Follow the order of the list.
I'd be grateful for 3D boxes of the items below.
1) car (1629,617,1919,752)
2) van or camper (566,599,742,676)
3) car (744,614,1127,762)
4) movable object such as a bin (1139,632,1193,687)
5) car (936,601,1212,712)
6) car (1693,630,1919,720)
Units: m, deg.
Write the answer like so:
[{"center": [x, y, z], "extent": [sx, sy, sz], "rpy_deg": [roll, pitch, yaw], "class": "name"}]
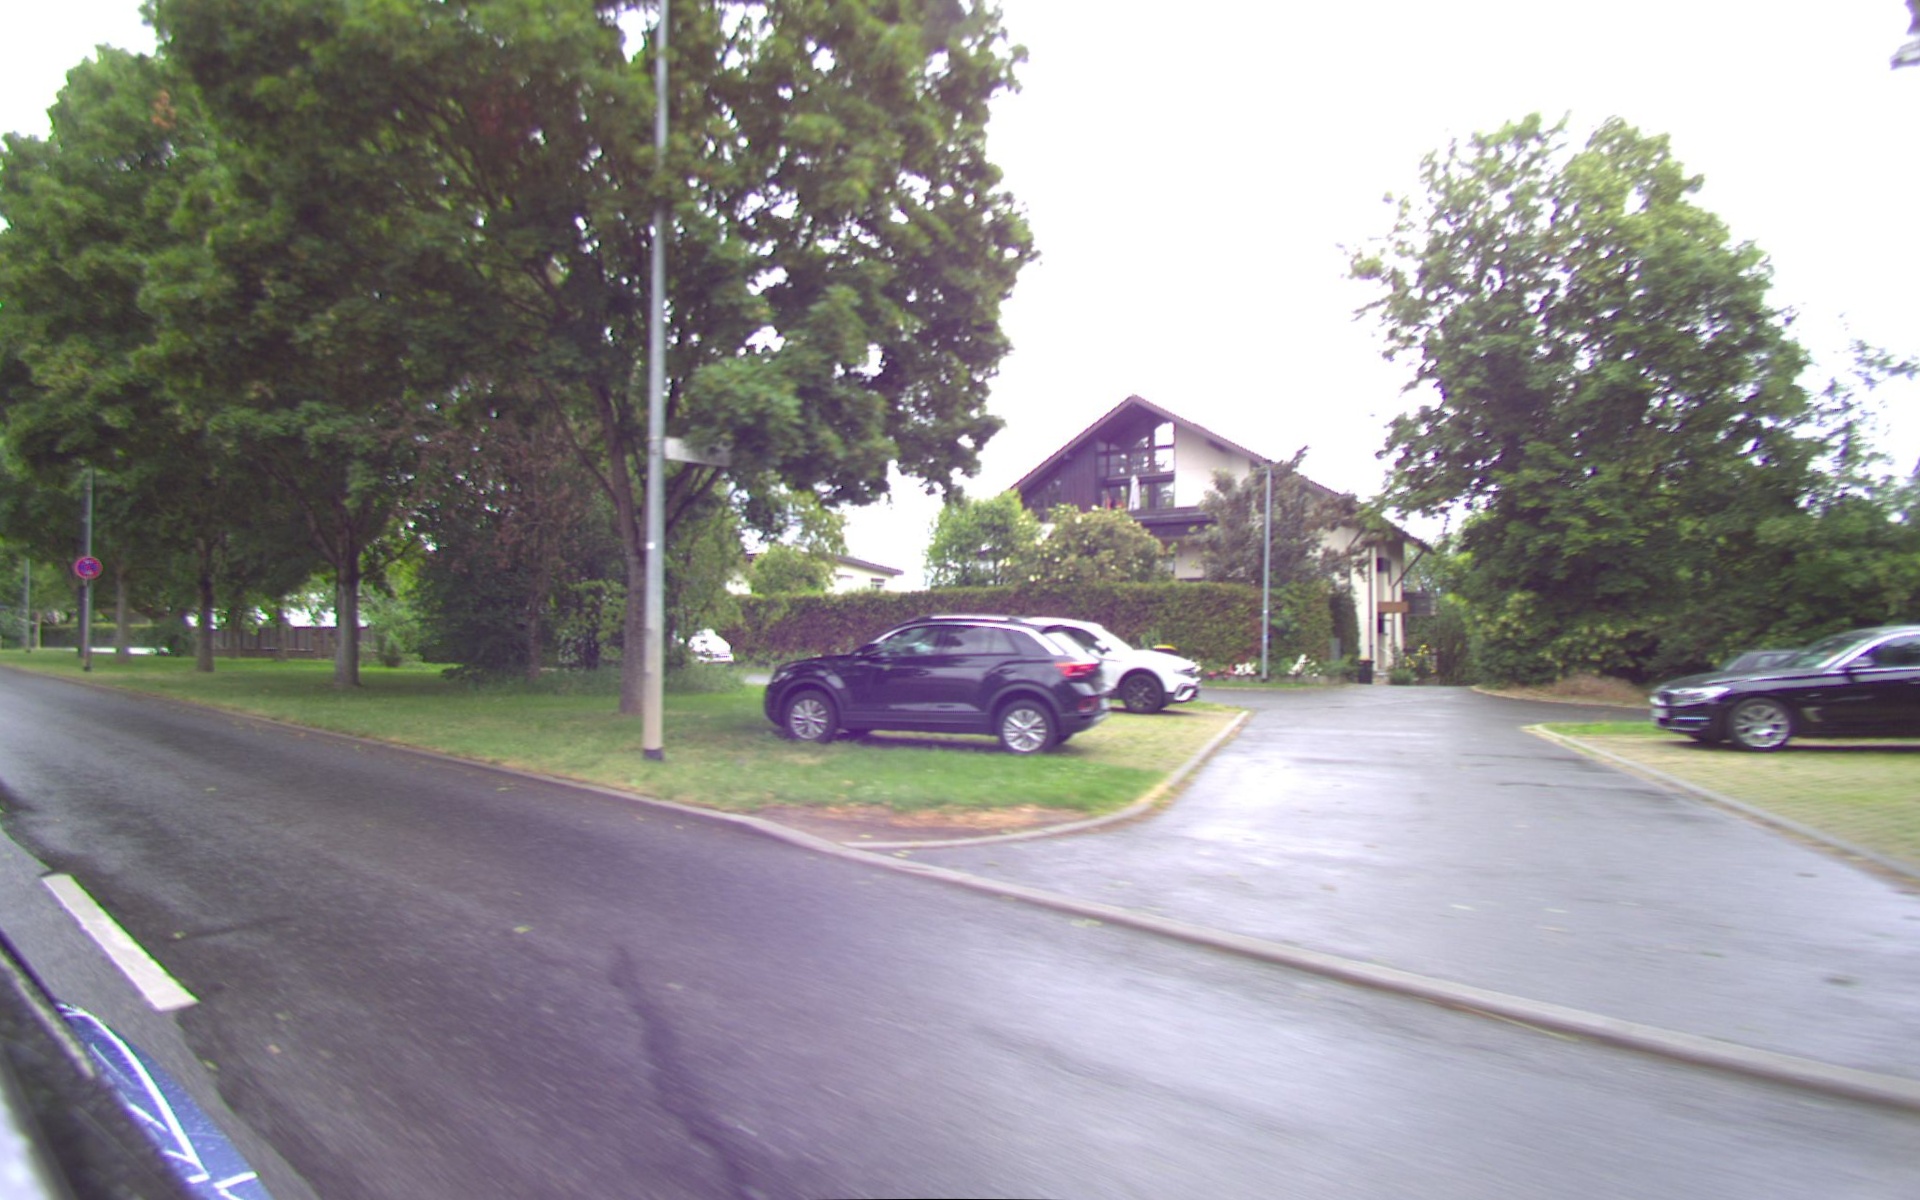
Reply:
[{"center": [11.174, 0.990, 12.361], "extent": [4.568, 1.520, 1.857], "rpy_deg": [-3, -3, 18], "class": "car"}, {"center": [-10.222, 1.243, 33.583], "extent": [6.134, 2.353, 2.073], "rpy_deg": [-1, -3, 32], "class": "van or camper"}, {"center": [-0.228, 0.972, 12.105], "extent": [4.212, 1.525, 1.884], "rpy_deg": [0, -3, 17], "class": "car"}, {"center": [5.872, 1.674, 28.832], "extent": [1.165, 1.478, 1.075], "rpy_deg": [-1, 0, 32], "class": "movable object such as a bin"}, {"center": [2.159, 1.009, 19.168], "extent": [4.864, 1.783, 1.896], "rpy_deg": [1, -2, 21], "class": "car"}, {"center": [15.117, 1.228, 17.065], "extent": [4.197, 1.422, 1.822], "rpy_deg": [-1, -3, 28], "class": "car"}]
